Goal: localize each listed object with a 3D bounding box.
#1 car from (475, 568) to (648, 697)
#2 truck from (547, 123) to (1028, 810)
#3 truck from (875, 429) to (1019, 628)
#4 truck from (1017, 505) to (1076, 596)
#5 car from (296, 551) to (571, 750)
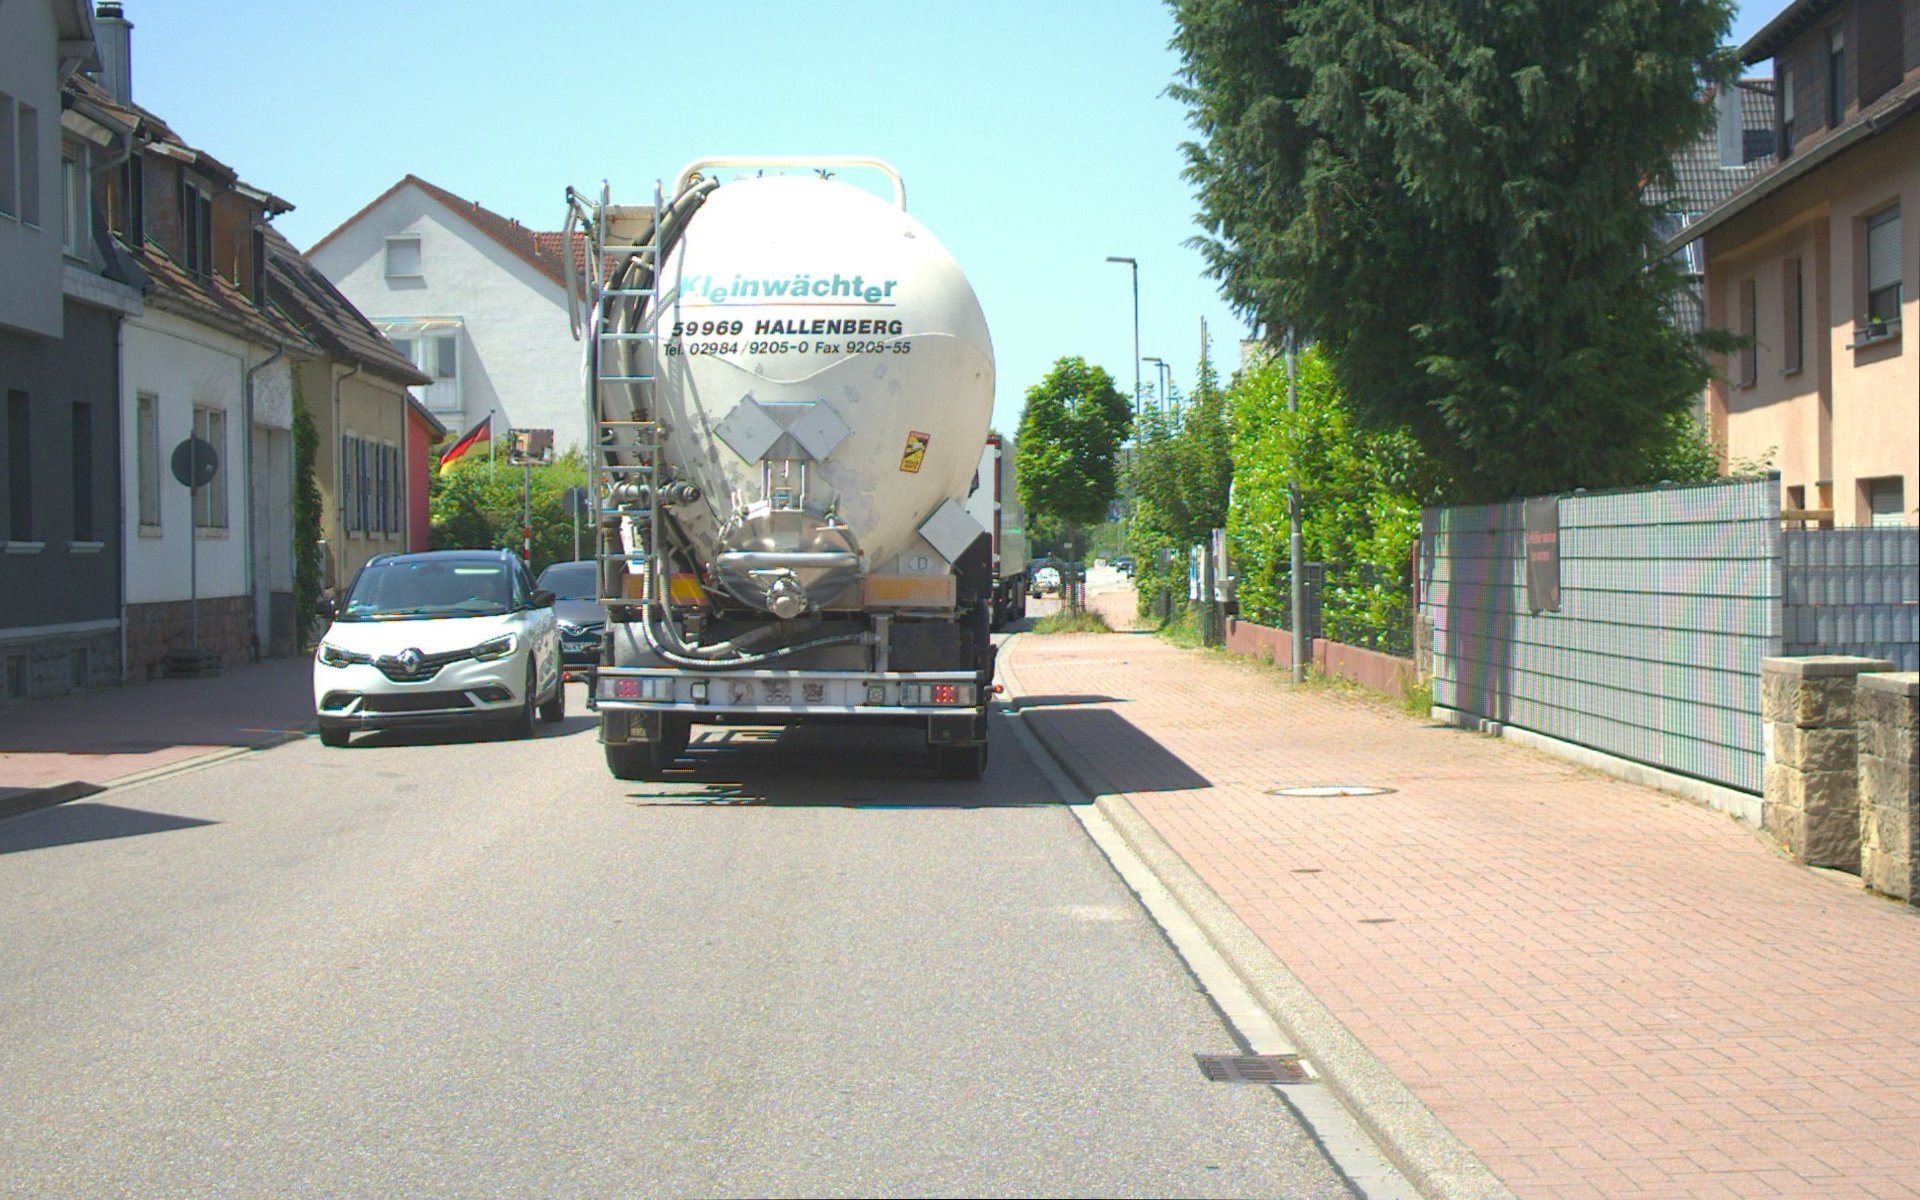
[{"bbox_3d":[-5.105,0.378,44.516,1.851,1.501,4.105,-3,1,-2],"label":"car"},{"bbox_3d":[-1.134,-0.797,24.034,2.732,3.946,8.142,1,0,-2],"label":"truck"},{"bbox_3d":[-0.185,-1.461,73.207,2.733,3.946,8.141,1,0,2],"label":"truck"},{"bbox_3d":[3.147,-1.816,125.145,1.993,3.126,9.448,1,1,1],"label":"truck"},{"bbox_3d":[-4.621,0.397,30.720,1.851,1.566,4.255,-3,1,-2],"label":"car"}]
